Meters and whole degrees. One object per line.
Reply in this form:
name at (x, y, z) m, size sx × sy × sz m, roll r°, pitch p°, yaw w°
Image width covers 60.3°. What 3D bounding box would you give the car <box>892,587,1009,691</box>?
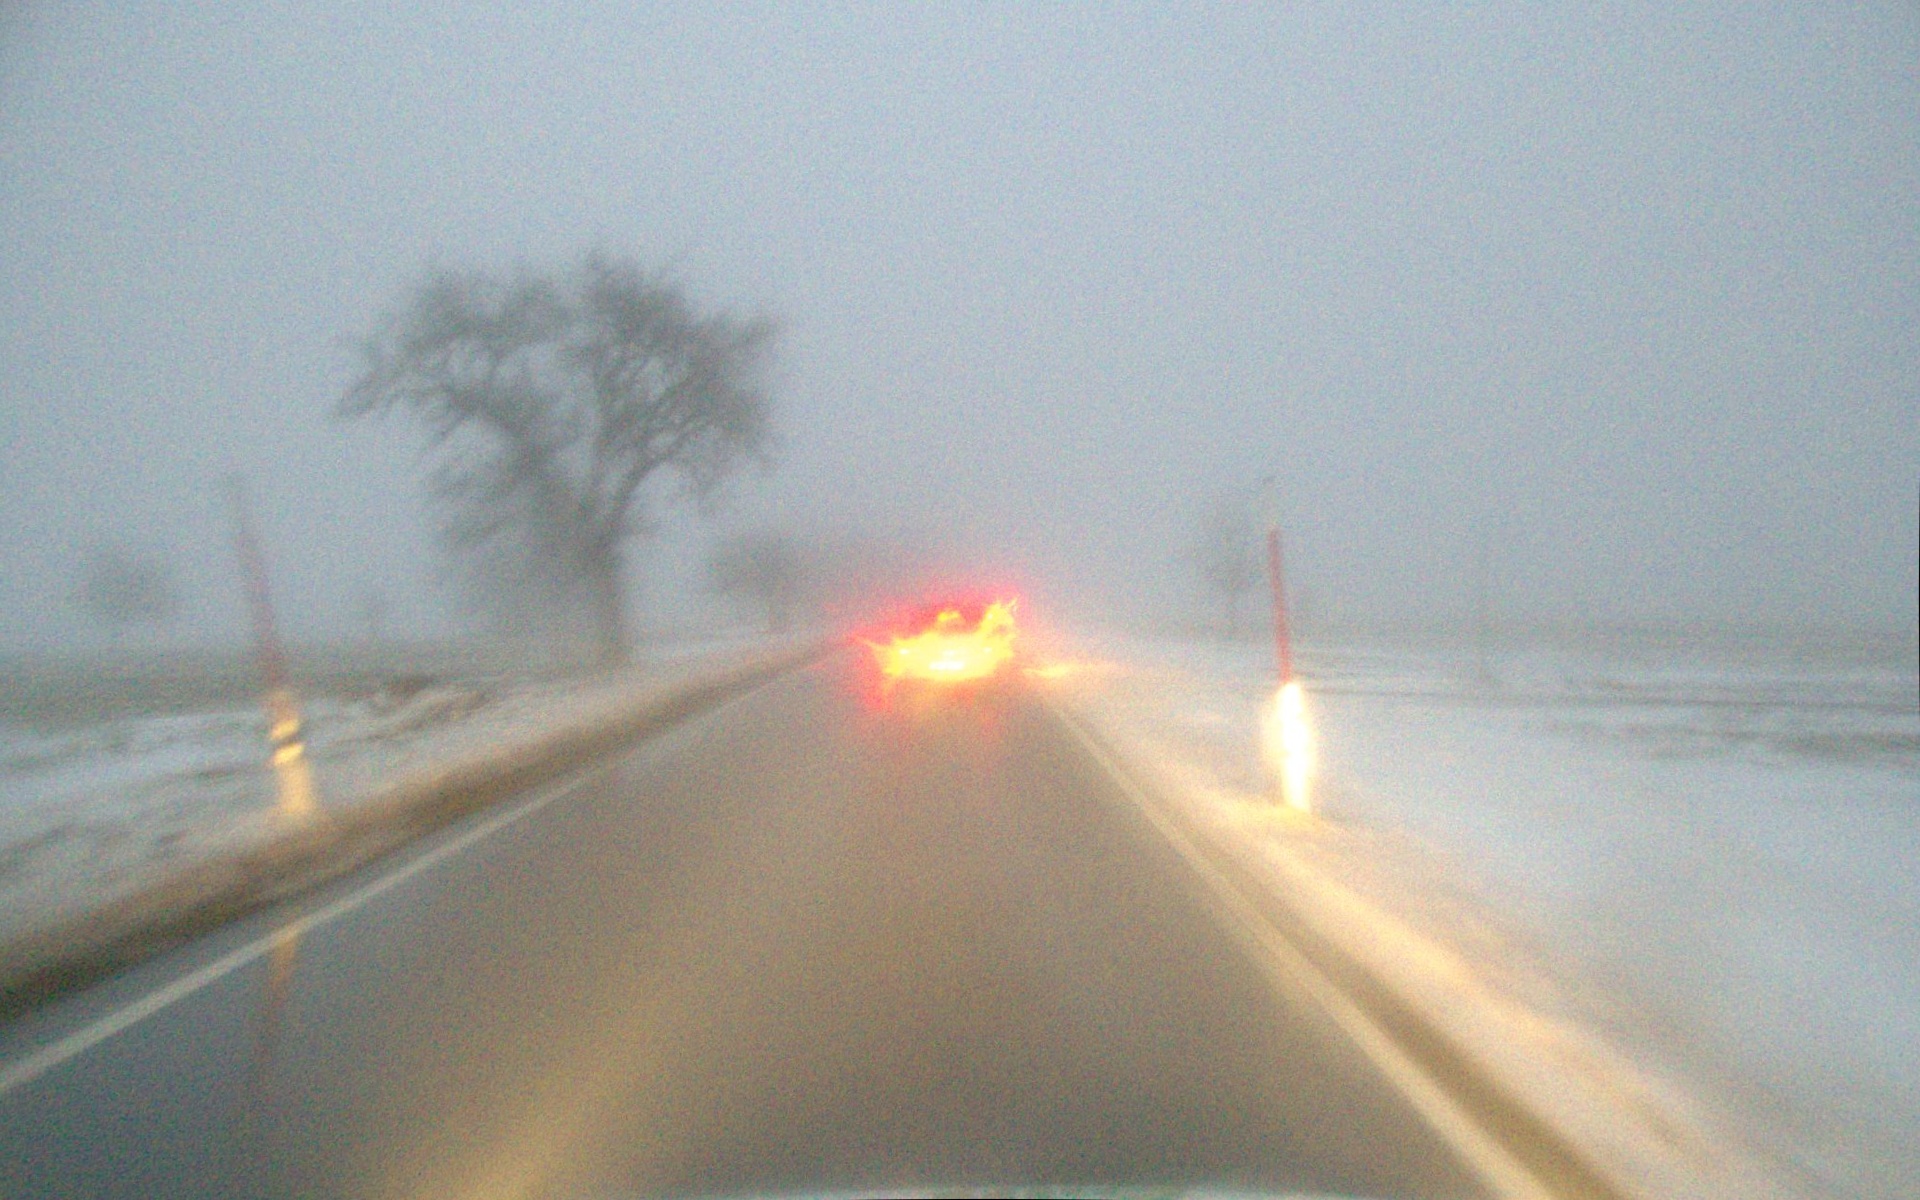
car at (-0.219, 0.587, 26.092) m, size 1.673 × 1.489 × 3.998 m, roll 1°, pitch -1°, yaw -2°
